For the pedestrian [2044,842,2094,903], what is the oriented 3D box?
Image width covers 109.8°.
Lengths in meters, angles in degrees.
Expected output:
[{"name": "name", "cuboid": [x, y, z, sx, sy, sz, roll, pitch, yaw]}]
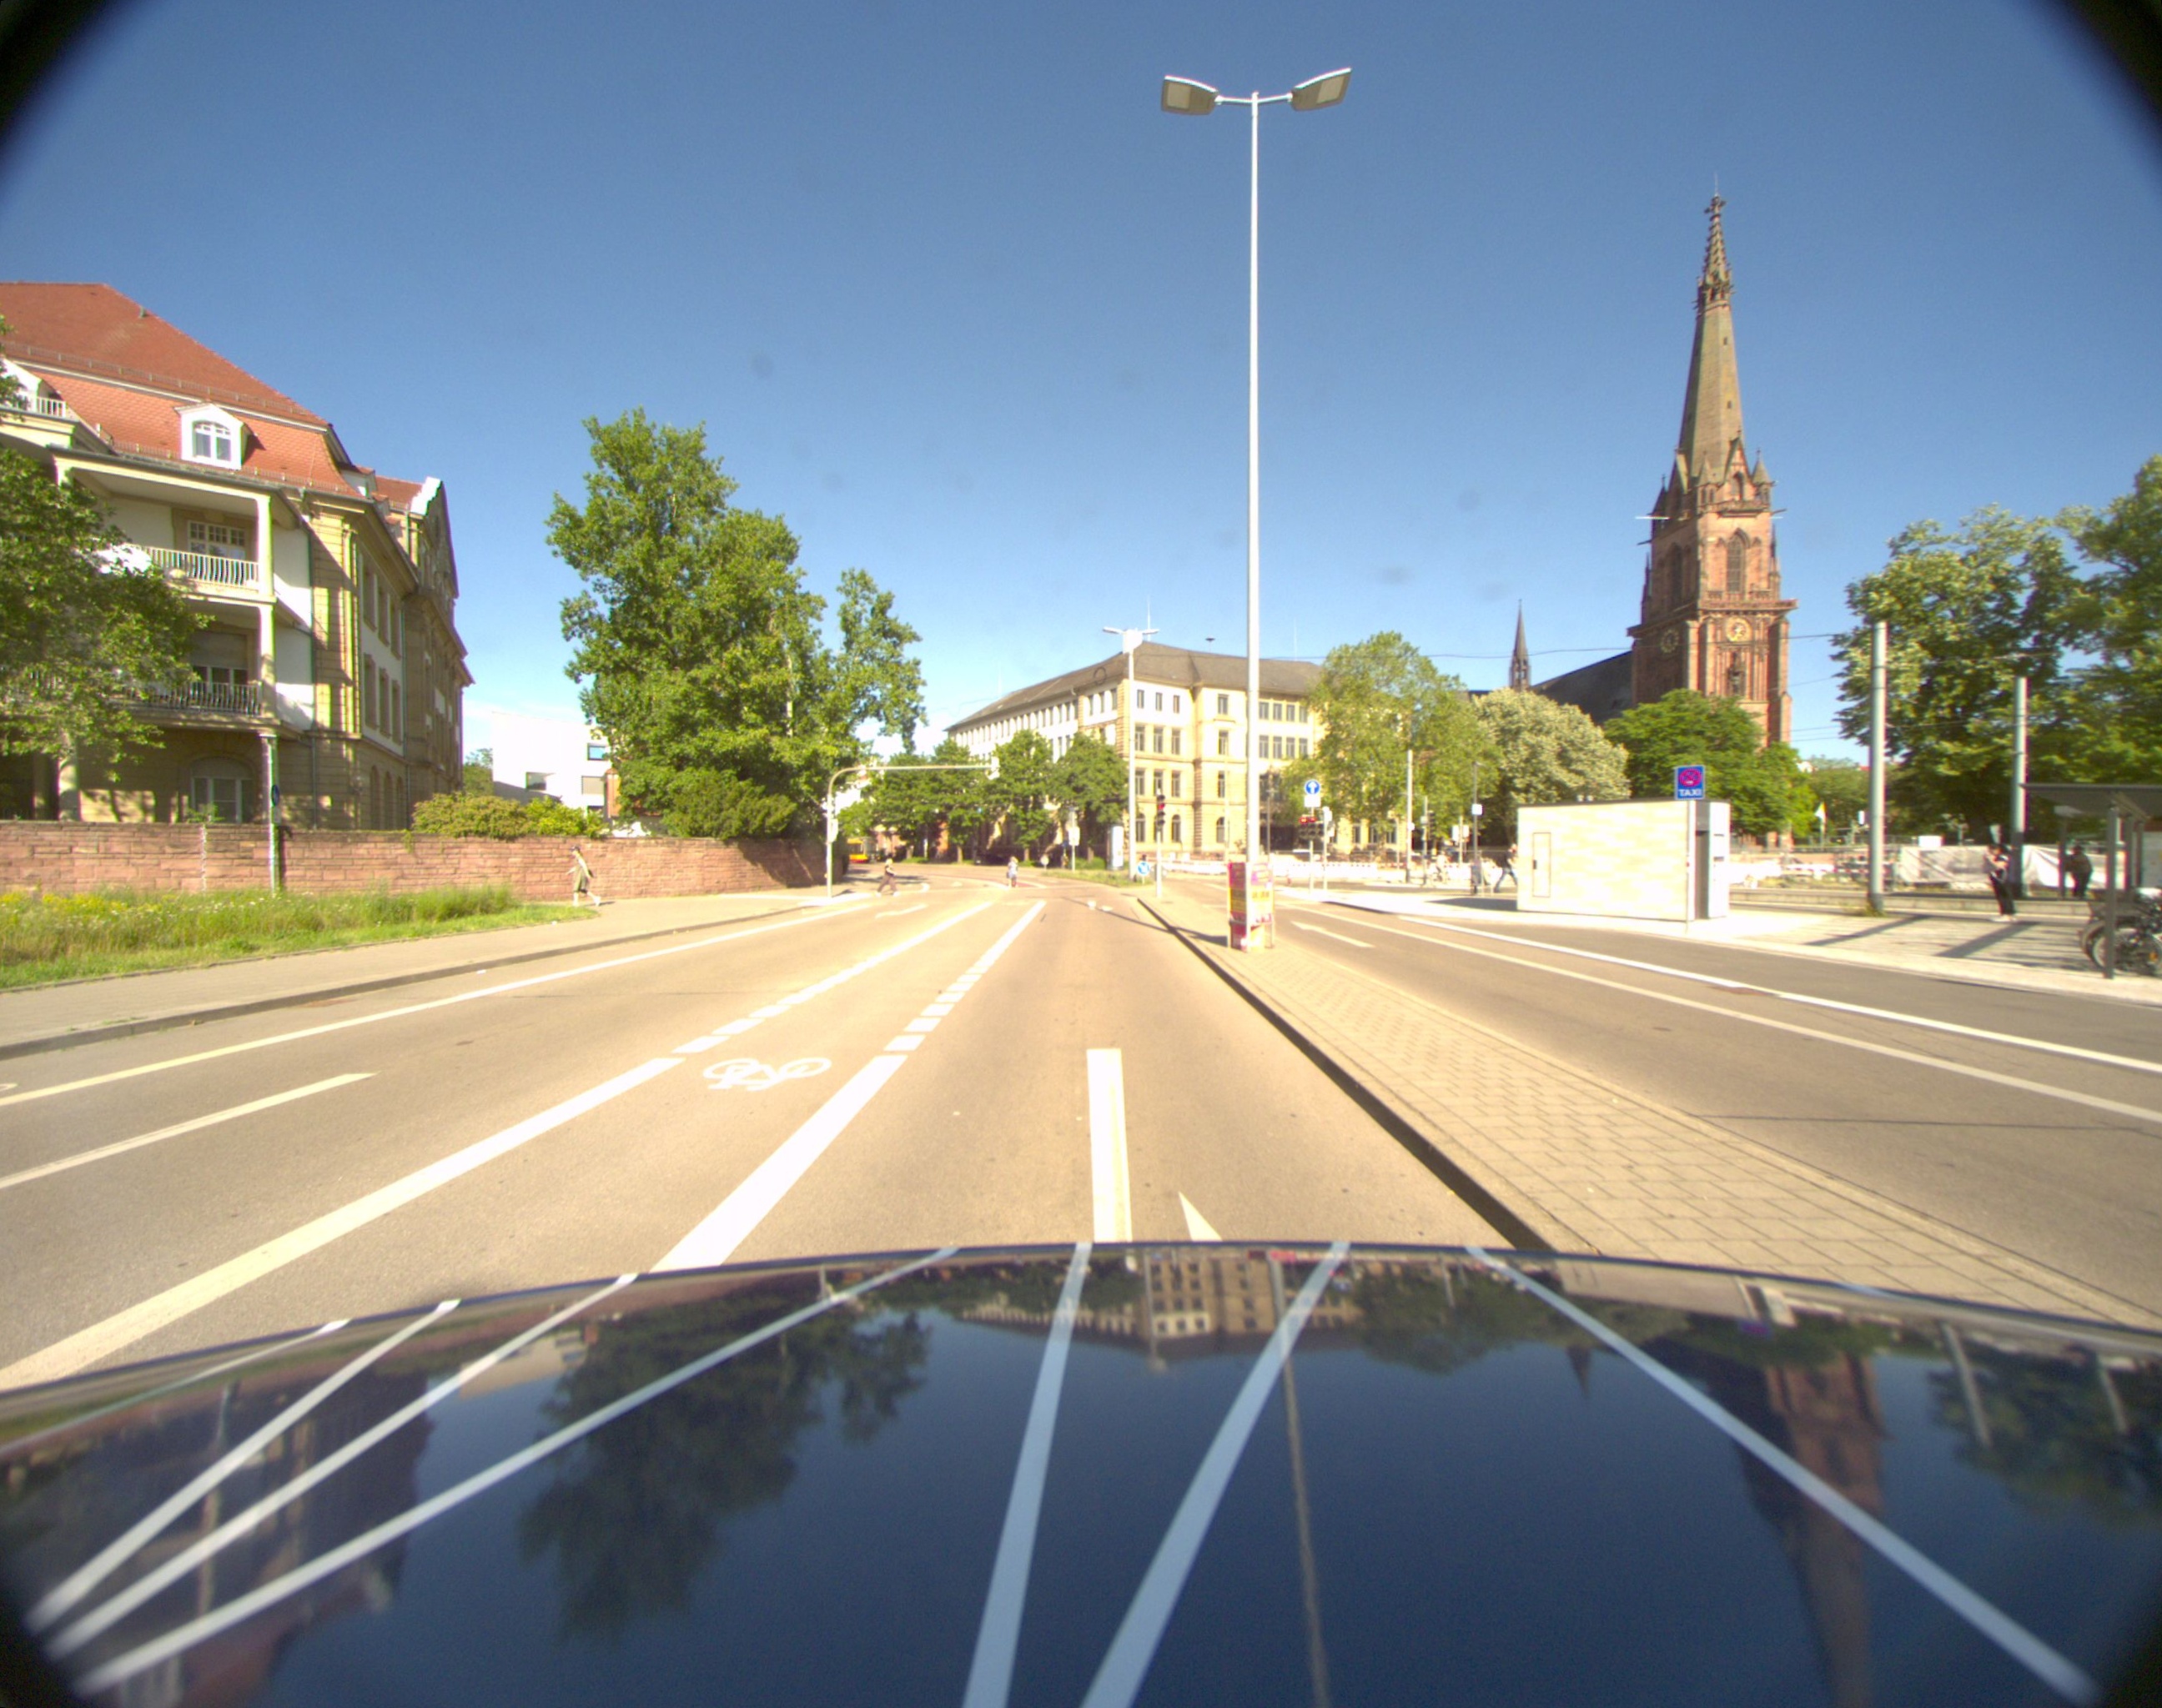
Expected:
[{"name": "pedestrian", "cuboid": [30.595, 0.562, 23.538, 0.619, 1.849, 0.703, 0, 1, 11]}]

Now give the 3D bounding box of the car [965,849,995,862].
[{"name": "car", "cuboid": [-12.040, 0.143, 90.518, 1.839, 1.587, 3.989, -1, 1, -37]}]

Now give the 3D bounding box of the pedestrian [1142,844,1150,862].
[{"name": "pedestrian", "cuboid": [5.998, -0.092, 70.491, 0.540, 1.710, 0.545, -1, 1, -37]}]

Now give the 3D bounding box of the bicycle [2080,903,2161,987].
[{"name": "bicycle", "cuboid": [13.991, 1.193, 9.550, 0.407, 0.993, 1.678, -3, 3, -33]}]

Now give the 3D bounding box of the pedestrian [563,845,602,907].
[{"name": "pedestrian", "cuboid": [-15.041, 0.641, 22.933, 0.628, 1.847, 0.789, 1, 1, 39]}]

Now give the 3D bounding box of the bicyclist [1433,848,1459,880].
[{"name": "bicyclist", "cuboid": [17.980, 0.477, 37.419, 0.887, 1.562, 0.739, -1, 1, -26]}]

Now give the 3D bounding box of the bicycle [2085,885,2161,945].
[{"name": "bicycle", "cuboid": [19.034, 1.089, 13.336, 0.407, 0.993, 1.679, -3, 2, -33]}]

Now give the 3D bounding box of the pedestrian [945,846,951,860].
[{"name": "pedestrian", "cuboid": [-18.663, -0.133, 106.832, 0.578, 1.893, 0.781, -1, 1, -36]}]

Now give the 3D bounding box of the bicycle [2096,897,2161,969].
[{"name": "bicycle", "cuboid": [16.134, 1.187, 10.998, 0.407, 0.993, 1.678, -3, 3, -33]}]

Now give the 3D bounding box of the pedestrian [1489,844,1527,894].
[{"name": "pedestrian", "cuboid": [15.146, 0.531, 26.972, 1.001, 1.733, 0.631, 0, 1, 8]}]

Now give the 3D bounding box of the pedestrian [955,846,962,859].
[{"name": "pedestrian", "cuboid": [-17.357, -0.194, 107.729, 0.578, 1.893, 0.849, -1, 1, -36]}]

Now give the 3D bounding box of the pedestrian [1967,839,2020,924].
[{"name": "pedestrian", "cuboid": [20.344, 0.589, 16.952, 0.622, 1.849, 0.700, -1, 2, -42]}]

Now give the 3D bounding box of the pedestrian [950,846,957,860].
[{"name": "pedestrian", "cuboid": [-17.992, -0.165, 107.301, 0.578, 1.893, 0.849, -1, 1, -36]}]

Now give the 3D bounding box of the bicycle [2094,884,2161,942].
[{"name": "bicycle", "cuboid": [19.520, 1.070, 13.578, 0.407, 0.993, 1.679, -3, 2, -33]}]

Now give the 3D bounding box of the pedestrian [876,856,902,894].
[{"name": "pedestrian", "cuboid": [-8.372, 0.915, 33.219, 0.931, 1.657, 0.630, 0, 1, 4]}]

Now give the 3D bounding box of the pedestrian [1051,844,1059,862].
[{"name": "pedestrian", "cuboid": [-2.898, -0.126, 85.128, 0.557, 2.002, 0.645, -1, 1, -37]}]

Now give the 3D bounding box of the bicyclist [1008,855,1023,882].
[{"name": "bicyclist", "cuboid": [-3.434, 0.765, 39.683, 0.741, 1.363, 0.626, -2, 1, -6]}]

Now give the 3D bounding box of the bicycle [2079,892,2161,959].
[{"name": "bicycle", "cuboid": [17.191, 1.146, 12.011, 0.407, 0.993, 1.679, -3, 2, -33]}]

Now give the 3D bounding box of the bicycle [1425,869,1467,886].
[{"name": "bicycle", "cuboid": [17.984, 1.160, 37.472, 2.055, 0.777, 0.739, 0, 1, -26]}]

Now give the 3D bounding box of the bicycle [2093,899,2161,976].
[{"name": "bicycle", "cuboid": [15.036, 1.171, 10.207, 0.407, 0.993, 1.678, -3, 3, -33]}]

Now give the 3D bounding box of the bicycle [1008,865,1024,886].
[{"name": "bicycle", "cuboid": [-3.416, 1.124, 39.703, 0.741, 0.989, 2.305, -2, 1, -6]}]

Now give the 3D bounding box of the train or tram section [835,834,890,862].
[{"name": "train or tram section", "cuboid": [-29.899, -0.836, 103.395, 2.947, 3.500, 13.802, -1, 1, -35]}]

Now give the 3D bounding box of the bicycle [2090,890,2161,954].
[{"name": "bicycle", "cuboid": [17.970, 1.142, 12.458, 0.407, 0.993, 1.679, -3, 2, -33]}]
